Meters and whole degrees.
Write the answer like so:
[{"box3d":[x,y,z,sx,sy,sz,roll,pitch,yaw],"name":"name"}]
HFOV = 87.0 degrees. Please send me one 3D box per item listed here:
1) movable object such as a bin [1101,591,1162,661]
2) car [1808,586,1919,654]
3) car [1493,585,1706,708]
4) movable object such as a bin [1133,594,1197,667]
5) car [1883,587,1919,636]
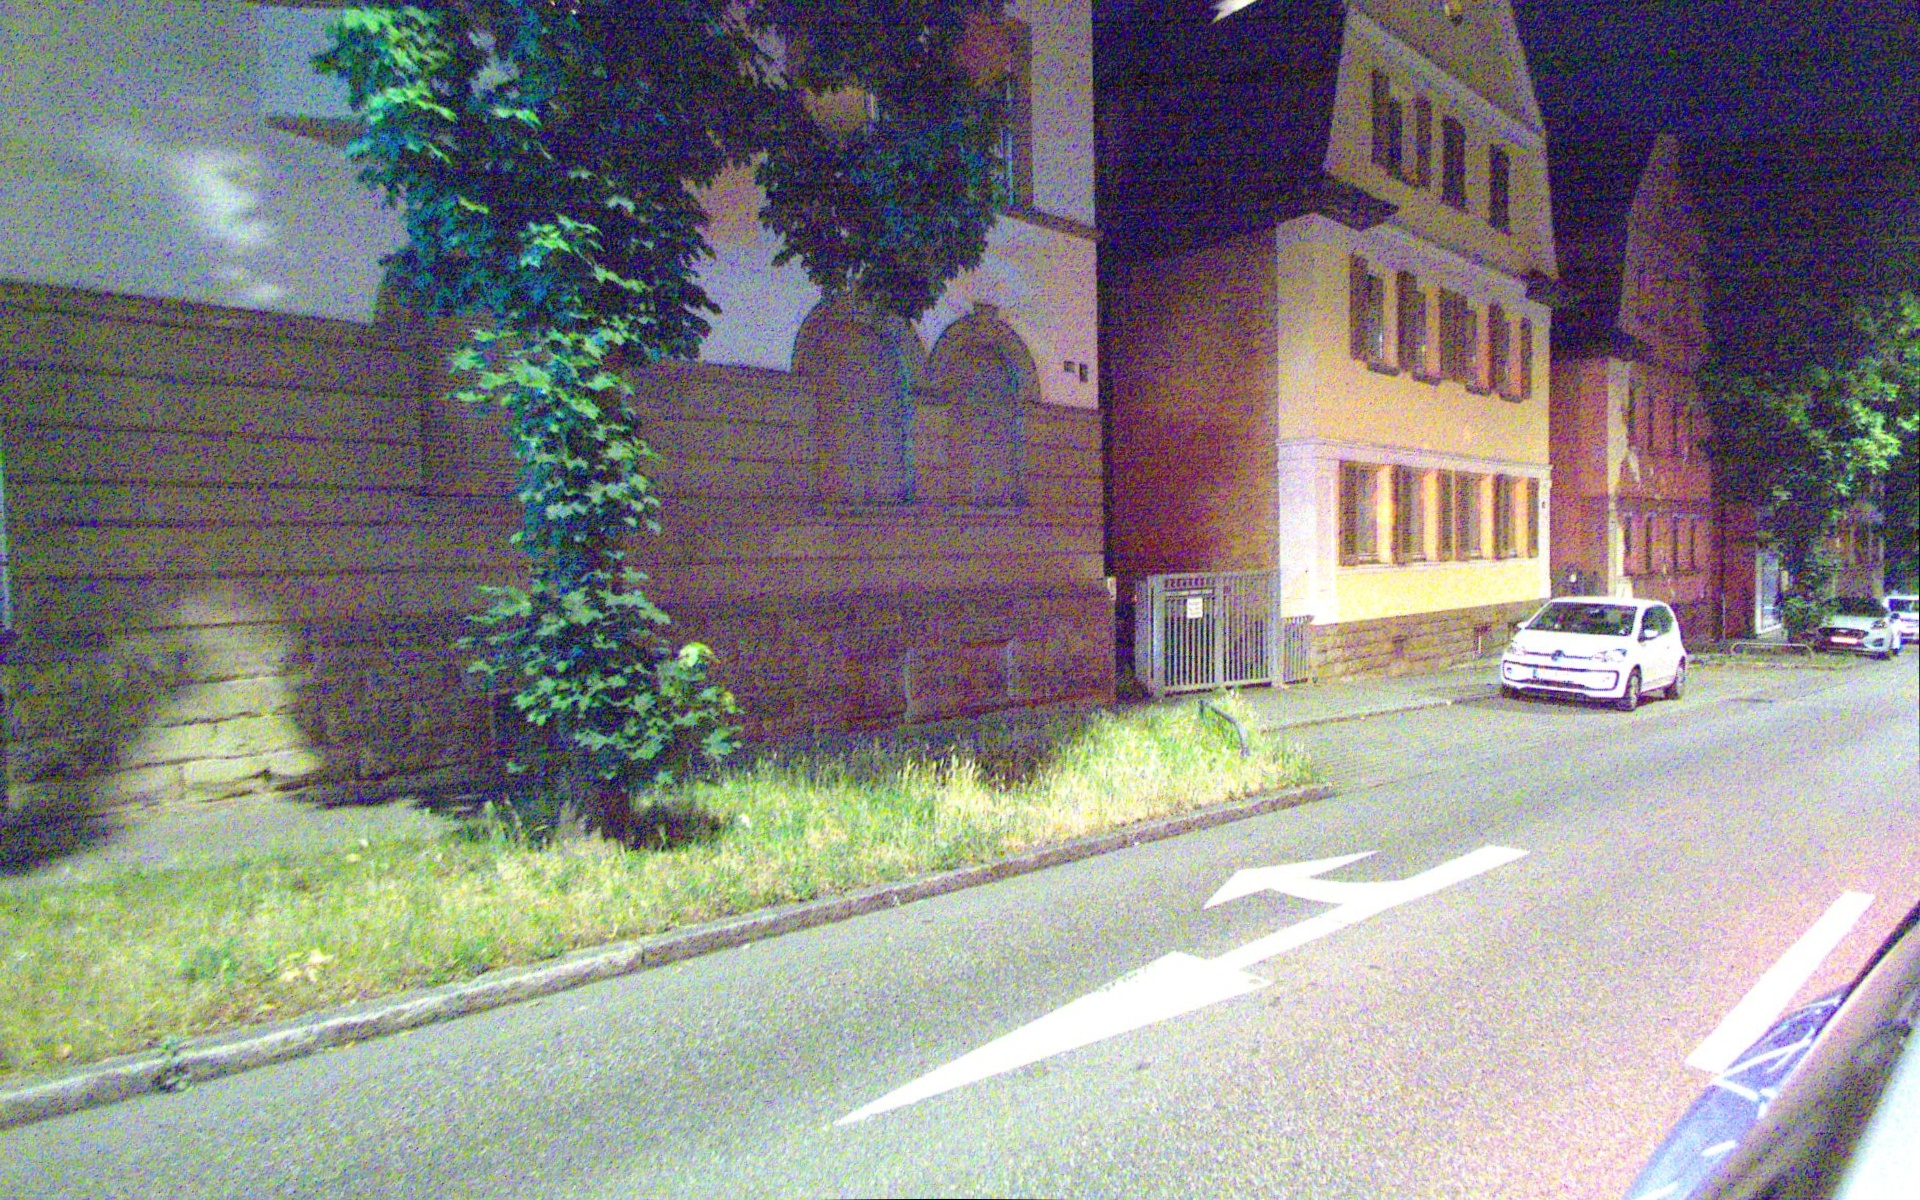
[{"box3d":[2.670,0.390,15.721,0.742,1.062,0.608,0,0,-41],"name":"movable object such as a bin"},{"box3d":[23.803,0.467,26.573,3.977,1.572,1.862,0,3,-43],"name":"car"},{"box3d":[9.319,0.574,14.652,3.541,1.503,1.671,0,2,-42],"name":"car"},{"box3d":[3.077,0.434,15.185,0.742,1.062,0.608,0,0,-41],"name":"movable object such as a bin"},{"box3d":[33.786,0.387,35.342,4.281,1.616,1.742,0,3,-40],"name":"car"}]
